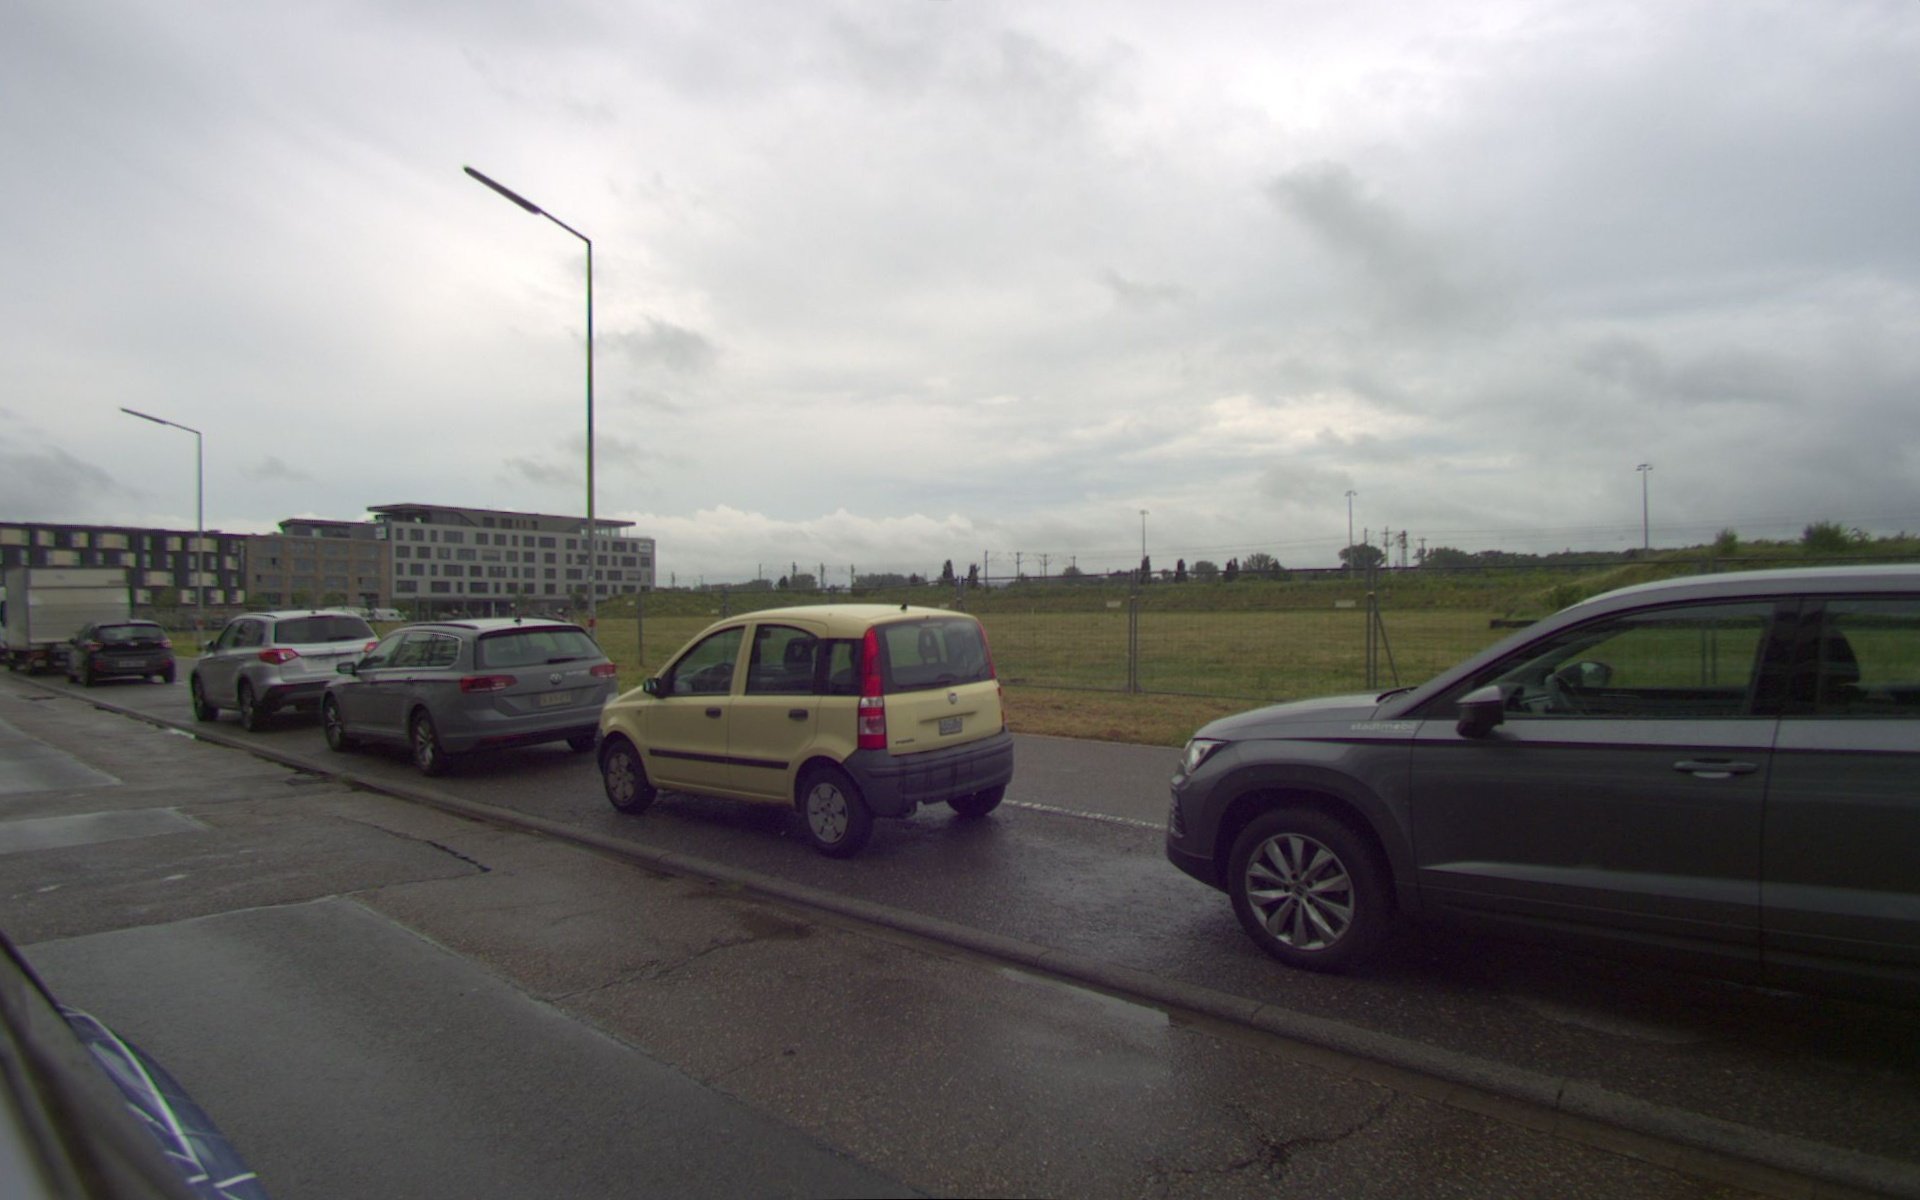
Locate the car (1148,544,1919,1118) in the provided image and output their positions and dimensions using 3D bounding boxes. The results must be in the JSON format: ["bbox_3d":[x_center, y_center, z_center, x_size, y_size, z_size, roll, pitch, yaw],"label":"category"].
[{"bbox_3d":[2.955,0.658,3.743,4.131,1.602,1.734,-2,-2,41],"label":"car"}]

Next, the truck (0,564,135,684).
[{"bbox_3d":[-26.171,0.673,29.280,6.696,3.091,2.410,-2,0,41],"label":"truck"}]

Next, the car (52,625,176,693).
[{"bbox_3d":[-20.291,1.345,24.216,4.155,1.474,1.655,-2,-2,41],"label":"car"}]

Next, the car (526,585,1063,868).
[{"bbox_3d":[-1.443,0.736,7.688,4.207,1.587,1.708,-1,-1,40],"label":"car"}]

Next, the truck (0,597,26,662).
[{"bbox_3d":[-41.231,1.254,42.630,6.129,2.626,2.152,-2,-1,41],"label":"truck"}]

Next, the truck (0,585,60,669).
[{"bbox_3d":[-34.145,0.970,36.501,6.739,2.787,2.018,-2,0,44],"label":"truck"}]

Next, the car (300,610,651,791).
[{"bbox_3d":[-5.501,0.924,11.173,4.669,1.540,1.818,-1,1,42],"label":"car"}]

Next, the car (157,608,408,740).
[{"bbox_3d":[-10.403,1.015,15.377,4.985,1.619,1.834,-2,1,40],"label":"car"}]

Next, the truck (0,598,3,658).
[{"bbox_3d":[-46.602,1.327,47.381,5.287,2.767,2.152,-2,-1,41],"label":"truck"}]
